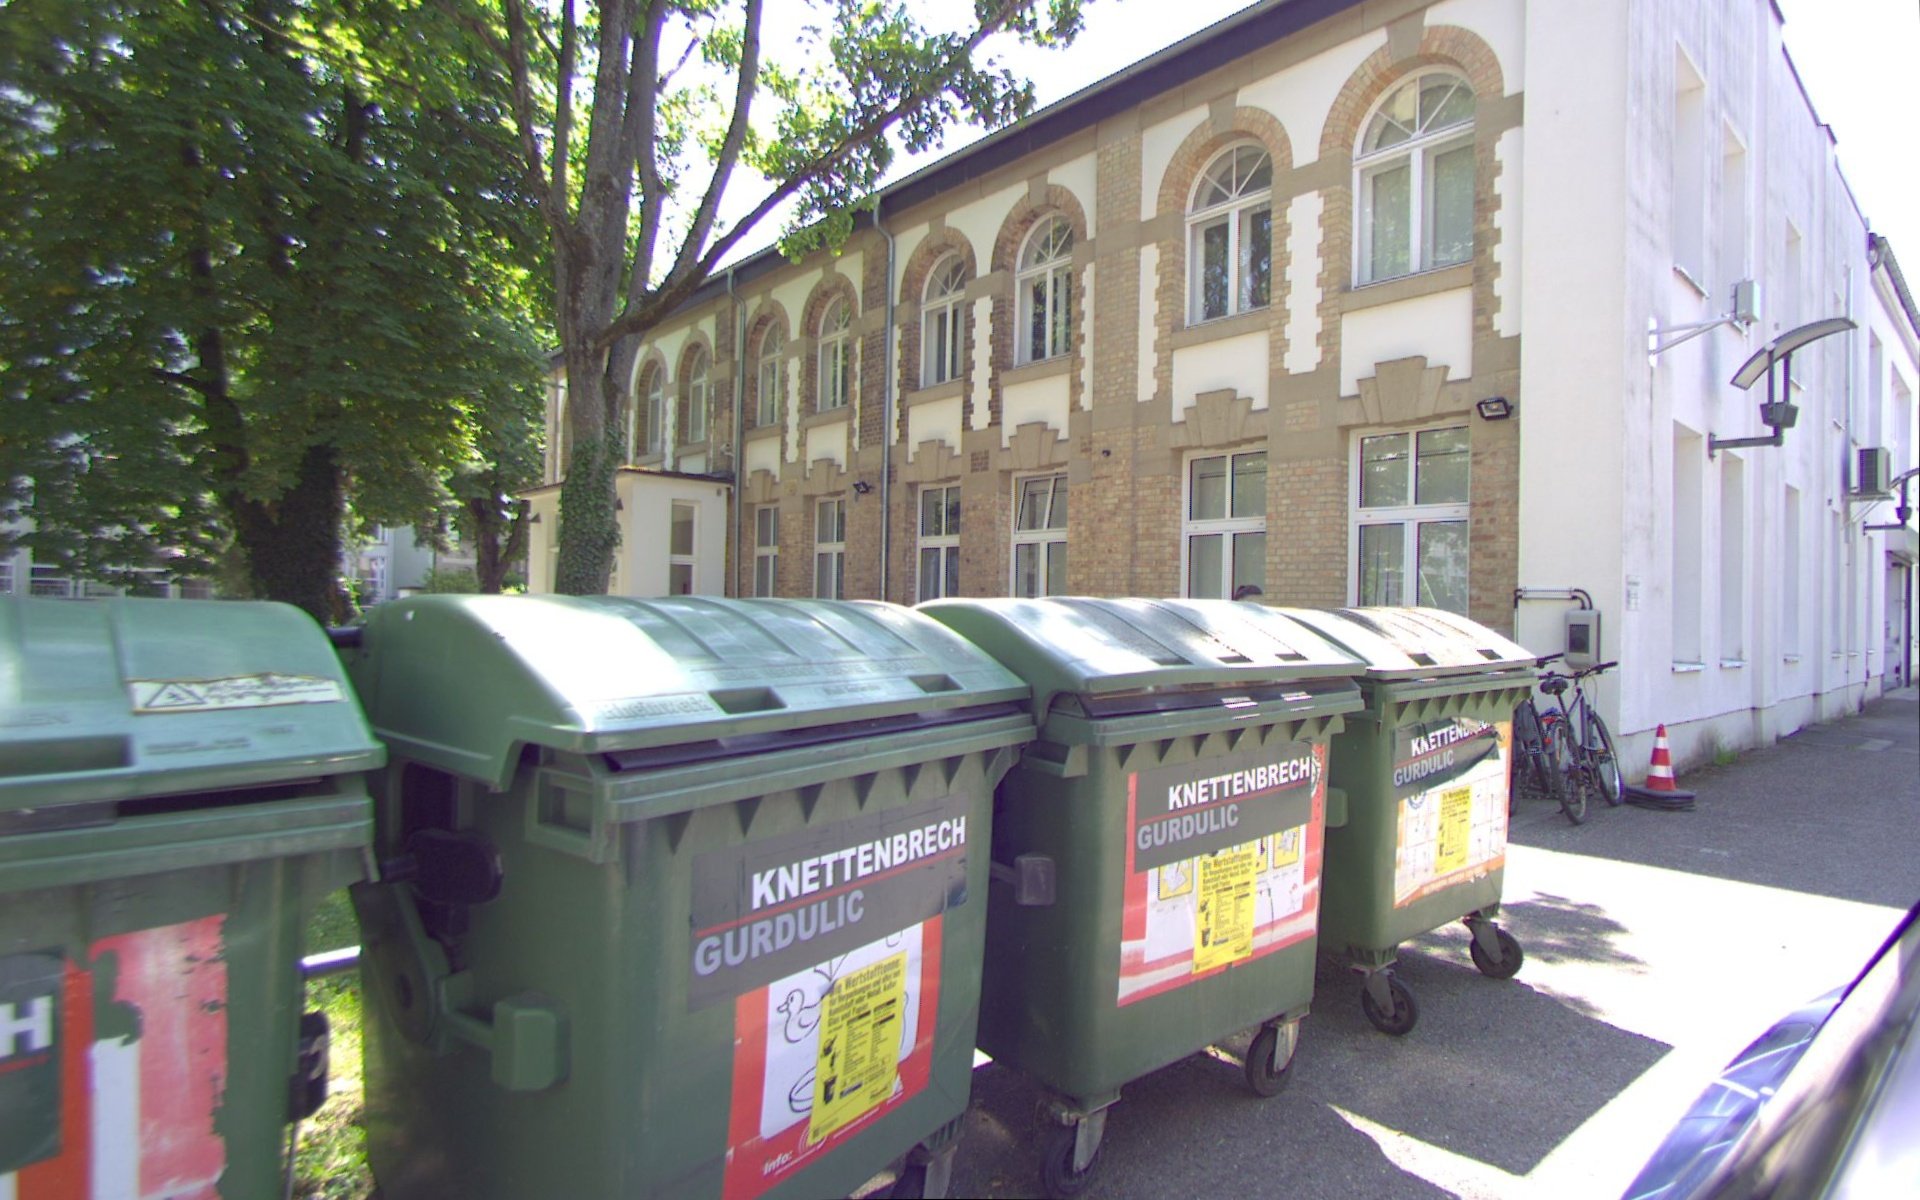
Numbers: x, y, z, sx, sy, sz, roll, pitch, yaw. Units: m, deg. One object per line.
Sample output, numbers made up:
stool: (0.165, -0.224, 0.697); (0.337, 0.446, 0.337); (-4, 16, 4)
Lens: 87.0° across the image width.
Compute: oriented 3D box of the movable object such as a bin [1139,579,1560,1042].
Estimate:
movable object such as a bin: (1.580, 0.670, 4.088); (1.353, 1.476, 1.077); (1, 0, -40)

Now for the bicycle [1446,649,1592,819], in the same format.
bicycle: (4.329, 0.965, 7.777); (1.794, 1.116, 0.405); (1, 0, -42)

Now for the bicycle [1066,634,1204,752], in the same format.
bicycle: (1.871, 0.930, 10.641); (1.794, 1.116, 0.405); (1, 0, -42)

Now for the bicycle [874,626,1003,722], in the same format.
bicycle: (-0.247, 0.899, 12.834); (1.794, 1.116, 0.405); (1, 0, -42)

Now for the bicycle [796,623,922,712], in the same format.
bicycle: (-1.342, 0.884, 13.745); (1.794, 1.116, 0.405); (1, 0, -42)

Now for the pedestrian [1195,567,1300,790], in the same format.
pedestrian: (2.411, 0.623, 8.484); (0.677, 1.771, 0.552); (1, -1, -40)

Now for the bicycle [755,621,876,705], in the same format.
bicycle: (-2.045, 0.874, 14.537); (1.794, 1.116, 0.405); (1, 0, -42)

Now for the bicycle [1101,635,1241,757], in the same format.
bicycle: (2.179, 0.934, 10.312); (1.794, 1.116, 0.405); (1, 0, -42)

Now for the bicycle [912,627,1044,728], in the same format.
bicycle: (0.248, 0.906, 12.322); (1.794, 1.116, 0.405); (1, 0, -42)

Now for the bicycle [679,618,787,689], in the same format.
bicycle: (-3.779, 0.872, 16.938); (1.794, 1.116, 0.405); (1, 0, -42)

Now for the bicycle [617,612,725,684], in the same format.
bicycle: (-5.035, 0.812, 17.687); (1.795, 1.115, 0.405); (-3, 2, -42)

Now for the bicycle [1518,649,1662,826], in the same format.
bicycle: (4.673, 0.947, 7.455); (1.794, 1.116, 0.405); (1, 0, -42)

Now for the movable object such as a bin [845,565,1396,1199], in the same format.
movable object such as a bin: (0.510, 0.658, 3.158); (1.353, 1.476, 1.077); (1, 0, -40)

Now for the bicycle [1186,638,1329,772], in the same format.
bicycle: (2.835, 0.943, 9.537); (1.794, 1.116, 0.405); (1, 0, -42)

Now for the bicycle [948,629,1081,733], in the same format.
bicycle: (0.668, 0.912, 11.929); (1.794, 1.116, 0.405); (1, 0, -42)

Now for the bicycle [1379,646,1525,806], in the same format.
bicycle: (4.015, 0.961, 8.190); (1.794, 1.116, 0.405); (1, 0, -42)

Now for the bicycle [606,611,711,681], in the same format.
bicycle: (-5.441, 0.806, 18.317); (1.795, 1.115, 0.405); (-3, 2, -42)

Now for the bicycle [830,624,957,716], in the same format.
bicycle: (-0.848, 0.891, 13.321); (1.794, 1.116, 0.405); (1, 0, -42)

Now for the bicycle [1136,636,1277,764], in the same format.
bicycle: (2.461, 0.938, 9.971); (1.794, 1.116, 0.405); (1, 0, -42)

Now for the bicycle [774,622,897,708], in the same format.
bicycle: (-1.711, 0.879, 14.135); (1.794, 1.116, 0.405); (1, 0, -42)

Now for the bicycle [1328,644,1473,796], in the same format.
bicycle: (3.746, 0.957, 8.538); (1.794, 1.116, 0.405); (1, 0, -42)

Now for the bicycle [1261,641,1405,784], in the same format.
bicycle: (3.353, 0.951, 9.006); (1.794, 1.116, 0.405); (1, 0, -42)

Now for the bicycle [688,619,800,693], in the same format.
bicycle: (-3.467, 0.877, 16.364); (1.794, 1.116, 0.405); (1, 0, -42)

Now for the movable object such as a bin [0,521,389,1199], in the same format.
movable object such as a bin: (-1.576, 0.650, 1.221); (1.353, 1.476, 1.077); (1, 0, -40)

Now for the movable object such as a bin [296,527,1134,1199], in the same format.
movable object such as a bin: (-0.497, 0.648, 2.110); (1.353, 1.476, 1.077); (1, 0, -40)

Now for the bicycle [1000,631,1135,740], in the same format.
bicycle: (1.240, 0.920, 11.400); (1.794, 1.116, 0.405); (1, 0, -42)

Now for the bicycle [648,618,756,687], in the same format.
bicycle: (-4.366, 0.864, 17.208); (1.794, 1.116, 0.405); (1, 0, -42)

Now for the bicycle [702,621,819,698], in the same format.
bicycle: (-3.036, 0.884, 15.522); (1.794, 1.116, 0.405); (1, 0, -42)

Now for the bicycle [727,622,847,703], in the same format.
bicycle: (-2.534, 0.891, 14.948); (1.794, 1.116, 0.405); (1, 0, -42)
